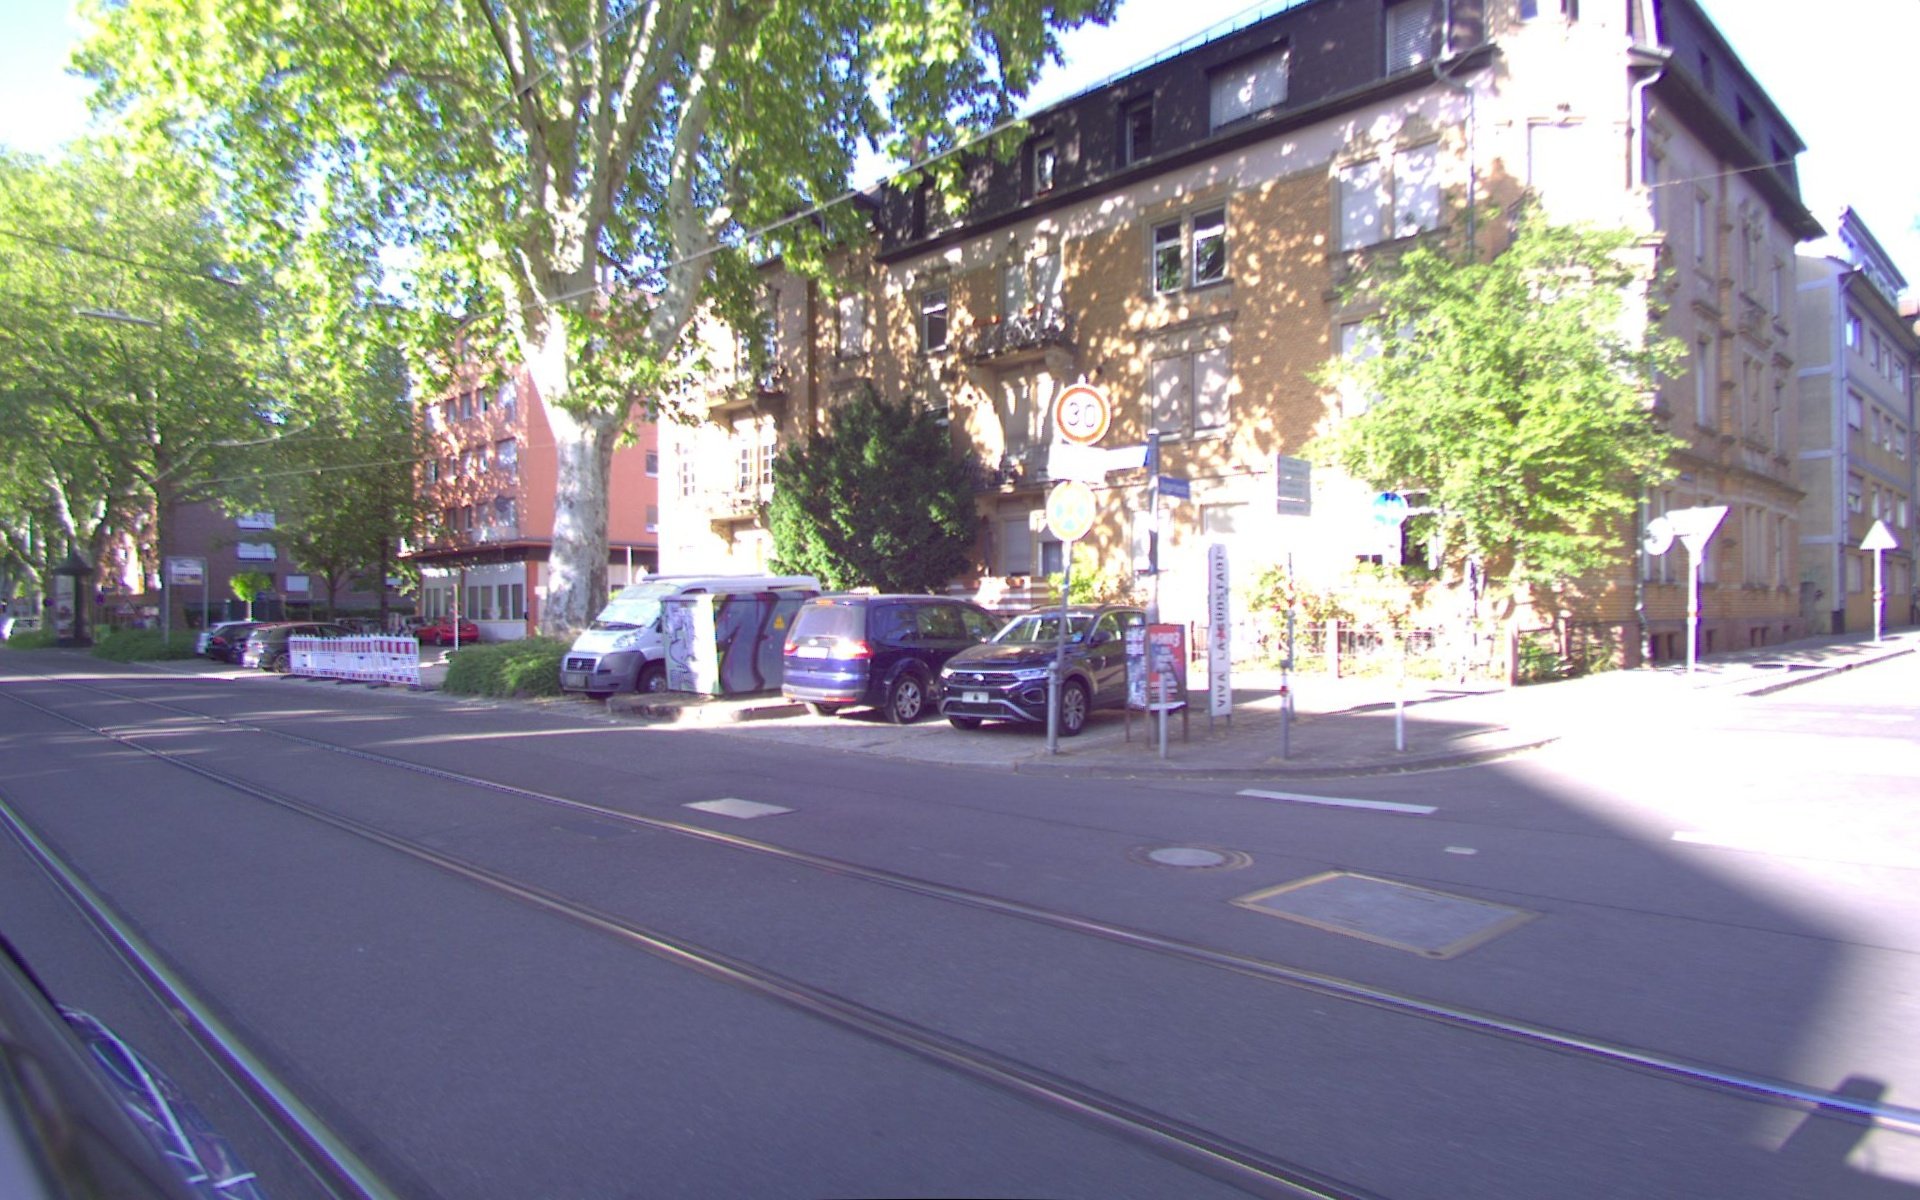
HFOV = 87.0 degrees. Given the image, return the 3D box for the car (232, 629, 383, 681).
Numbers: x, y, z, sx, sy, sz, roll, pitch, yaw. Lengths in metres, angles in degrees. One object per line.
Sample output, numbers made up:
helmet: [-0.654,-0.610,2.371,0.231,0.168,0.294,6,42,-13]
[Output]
car: [-21.829,1.814,33.953,1.809,1.527,3.916,-3,-1,39]

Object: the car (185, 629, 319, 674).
car: [-27.360,1.964,39.179,1.809,1.527,3.916,-3,-1,39]

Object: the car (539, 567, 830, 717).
car: [-4.953,0.702,18.858,2.026,2.416,4.956,-3,-1,39]

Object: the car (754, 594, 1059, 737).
car: [-0.638,0.834,14.939,2.026,1.779,4.408,-3,-1,39]

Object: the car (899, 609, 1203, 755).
car: [1.328,0.928,13.152,1.924,1.527,4.118,-3,-1,39]

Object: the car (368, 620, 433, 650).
car: [-28.637,1.786,51.756,3.648,1.458,1.650,-2,-3,40]

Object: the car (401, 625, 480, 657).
car: [-25.043,1.984,48.730,4.606,1.458,1.650,-2,-3,40]

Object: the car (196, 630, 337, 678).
car: [-25.352,1.937,37.076,1.809,1.527,3.916,-3,-1,39]

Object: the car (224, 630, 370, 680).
car: [-23.210,1.885,35.521,1.809,1.527,3.916,-3,-1,39]

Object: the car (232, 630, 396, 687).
car: [-19.904,1.769,31.297,1.809,1.527,3.916,-3,-1,39]
